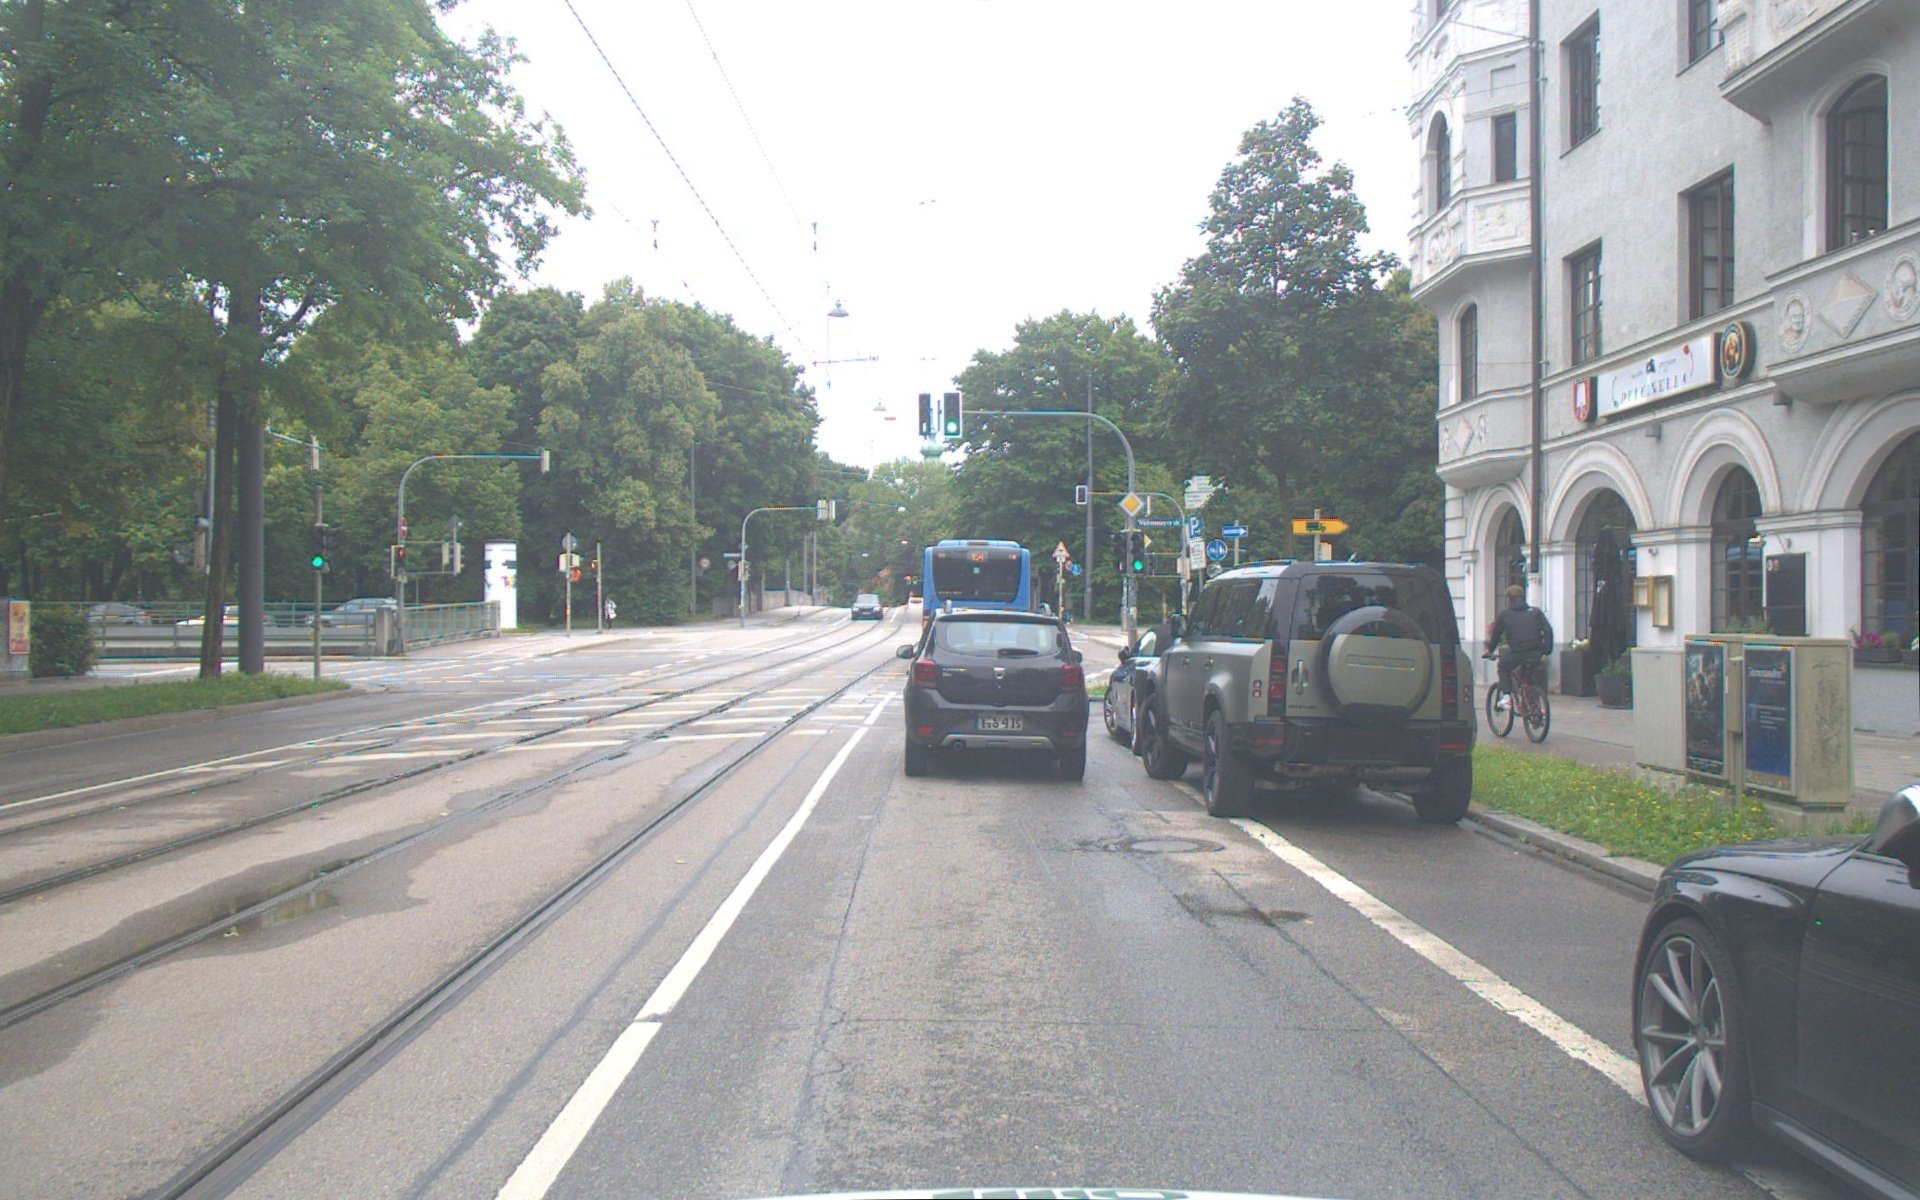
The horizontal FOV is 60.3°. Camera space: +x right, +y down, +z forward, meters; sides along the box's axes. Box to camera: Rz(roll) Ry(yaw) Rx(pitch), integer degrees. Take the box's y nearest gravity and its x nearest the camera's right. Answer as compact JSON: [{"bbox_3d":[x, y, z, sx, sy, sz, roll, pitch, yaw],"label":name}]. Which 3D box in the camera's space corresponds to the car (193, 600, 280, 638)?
[{"bbox_3d":[-30.443,0.804,69.611,3.050,1.477,1.249,2,-1,-6],"label":"car"}]

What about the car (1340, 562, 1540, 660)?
[{"bbox_3d":[14.114,0.342,48.795,5.191,2.658,2.229,2,-1,-4],"label":"car"}]

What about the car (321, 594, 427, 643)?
[{"bbox_3d":[-24.918,0.783,70.396,3.946,1.920,1.488,2,-1,-7],"label":"car"}]

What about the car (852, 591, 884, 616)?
[{"bbox_3d":[-5.335,0.211,96.201,1.752,1.394,3.399,2,-1,-2],"label":"car"}]

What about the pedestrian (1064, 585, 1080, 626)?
[{"bbox_3d":[5.867,0.285,86.463,0.747,2.153,0.853,0,0,-1],"label":"pedestrian"}]

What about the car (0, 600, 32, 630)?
[{"bbox_3d":[-40.898,0.575,68.923,3.656,1.206,1.249,2,-1,-6],"label":"car"}]

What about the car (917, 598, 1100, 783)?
[{"bbox_3d":[0.393,0.812,16.325,1.568,1.584,3.524,2,-1,-1],"label":"car"}]

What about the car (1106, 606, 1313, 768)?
[{"bbox_3d":[2.763,0.917,19.222,1.679,1.619,4.326,2,-1,-1],"label":"car"}]

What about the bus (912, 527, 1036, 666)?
[{"bbox_3d":[0.218,-0.047,40.914,2.625,3.050,6.957,2,-1,-2],"label":"bus"}]

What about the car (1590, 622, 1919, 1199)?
[{"bbox_3d":[2.984,0.803,3.189,1.681,1.451,4.601,2,-1,-1],"label":"car"}]

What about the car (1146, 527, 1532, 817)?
[{"bbox_3d":[2.893,0.521,13.800,1.876,1.939,4.805,2,-1,-3],"label":"car"}]

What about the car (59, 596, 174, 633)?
[{"bbox_3d":[-35.326,0.614,69.321,3.848,1.429,1.719,2,-1,-5],"label":"car"}]

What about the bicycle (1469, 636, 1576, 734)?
[{"bbox_3d":[6.863,1.015,20.281,0.567,1.097,1.911,-2,-1,-2],"label":"bicycle"}]

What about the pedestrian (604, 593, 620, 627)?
[{"bbox_3d":[-16.021,0.457,76.148,0.520,1.527,0.588,2,-1,4],"label":"pedestrian"}]

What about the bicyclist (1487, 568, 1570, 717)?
[{"bbox_3d":[6.885,0.509,20.042,0.709,1.759,0.726,2,-1,-2],"label":"bicyclist"}]
